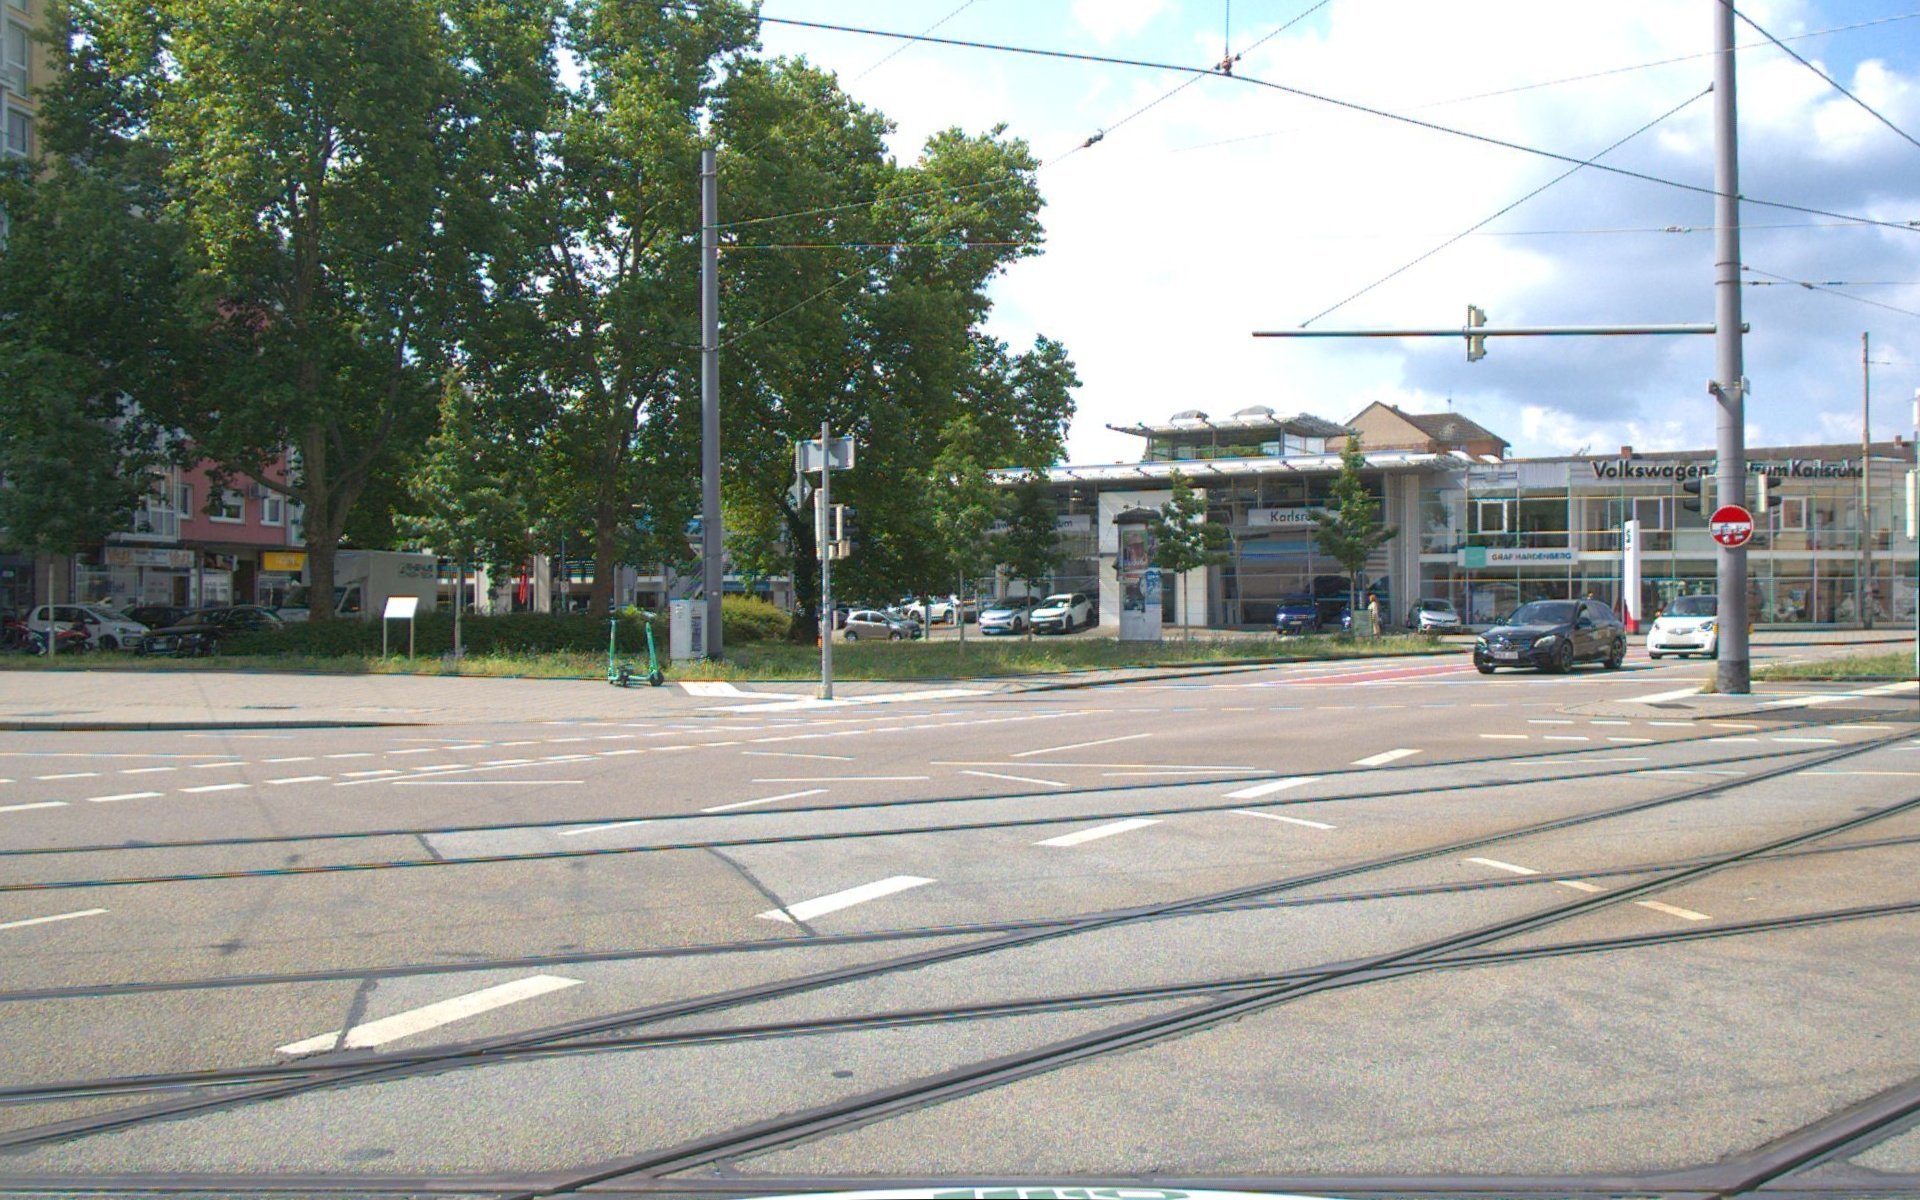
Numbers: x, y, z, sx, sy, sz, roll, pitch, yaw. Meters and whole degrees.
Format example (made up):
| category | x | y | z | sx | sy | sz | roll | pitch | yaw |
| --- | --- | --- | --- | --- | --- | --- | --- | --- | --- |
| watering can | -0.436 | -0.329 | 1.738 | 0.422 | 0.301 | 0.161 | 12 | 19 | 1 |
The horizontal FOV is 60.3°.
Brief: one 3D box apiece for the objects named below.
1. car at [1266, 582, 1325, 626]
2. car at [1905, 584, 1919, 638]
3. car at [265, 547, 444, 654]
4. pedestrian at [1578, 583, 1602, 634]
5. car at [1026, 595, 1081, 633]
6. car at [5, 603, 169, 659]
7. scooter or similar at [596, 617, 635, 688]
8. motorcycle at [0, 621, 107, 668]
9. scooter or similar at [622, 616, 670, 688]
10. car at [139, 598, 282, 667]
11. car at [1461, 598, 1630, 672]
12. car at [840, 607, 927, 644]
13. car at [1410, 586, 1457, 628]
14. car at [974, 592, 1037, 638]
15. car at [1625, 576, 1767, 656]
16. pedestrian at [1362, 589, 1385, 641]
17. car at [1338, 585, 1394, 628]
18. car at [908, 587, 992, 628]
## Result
| category | x | y | z | sx | sy | sz | roll | pitch | yaw |
| --- | --- | --- | --- | --- | --- | --- | --- | --- | --- |
| car | 14.697 | 0.186 | 72.311 | 1.952 | 1.870 | 4.000 | -1 | -1 | 20 |
| car | 30.200 | 0.302 | 49.987 | 3.709 | 1.601 | 1.967 | -1 | 0 | -45 |
| car | -18.702 | 0.027 | 51.585 | 1.951 | 3.096 | 7.255 | 0 | 0 | 9 |
| pedestrian | 25.377 | 0.355 | 66.633 | 0.850 | 2.049 | 0.704 | 0 | 0 | 17 |
| car | 4.432 | 0.634 | 78.115 | 1.747 | 1.712 | 4.003 | 0 | 0 | 16 |
| car | -26.090 | 0.911 | 49.507 | 3.995 | 1.541 | 1.810 | 2 | 0 | 7 |
| scooter or similar | -6.151 | 0.926 | 29.470 | 0.376 | 1.217 | 1.055 | 2 | 0 | -28 |
| motorcycle | -20.921 | 1.015 | 38.005 | 2.265 | 1.048 | 0.964 | 0 | -2 | -33 |
| scooter or similar | -5.611 | 0.918 | 29.505 | 0.378 | 1.217 | 1.050 | 2 | 0 | -38 |
| car | -19.873 | 0.827 | 44.052 | 1.952 | 1.735 | 4.000 | 0 | 0 | 1 |
| car | 11.917 | 0.663 | 33.555 | 1.839 | 1.400 | 3.914 | 0 | 0 | 43 |
| car | -3.496 | 1.135 | 75.334 | 3.598 | 1.513 | 1.672 | 2 | 1 | 25 |
| car | 20.337 | 0.312 | 71.101 | 1.887 | 1.713 | 4.003 | 2 | 0 | 16 |
| car | 2.186 | 0.688 | 78.596 | 1.952 | 2.048 | 4.002 | 3 | 0 | 16 |
| car | 18.286 | 0.405 | 41.020 | 1.967 | 1.870 | 3.972 | 2 | 0 | 44 |
| pedestrian | 16.595 | 0.609 | 66.352 | 0.790 | 2.049 | 0.808 | 1 | 0 | 19 |
| car | 17.511 | 0.269 | 71.192 | 1.952 | 1.755 | 4.001 | 2 | 0 | 19 |
| car | -0.532 | 0.392 | 87.147 | 3.913 | 2.049 | 1.996 | 2 | 0 | 30 |
